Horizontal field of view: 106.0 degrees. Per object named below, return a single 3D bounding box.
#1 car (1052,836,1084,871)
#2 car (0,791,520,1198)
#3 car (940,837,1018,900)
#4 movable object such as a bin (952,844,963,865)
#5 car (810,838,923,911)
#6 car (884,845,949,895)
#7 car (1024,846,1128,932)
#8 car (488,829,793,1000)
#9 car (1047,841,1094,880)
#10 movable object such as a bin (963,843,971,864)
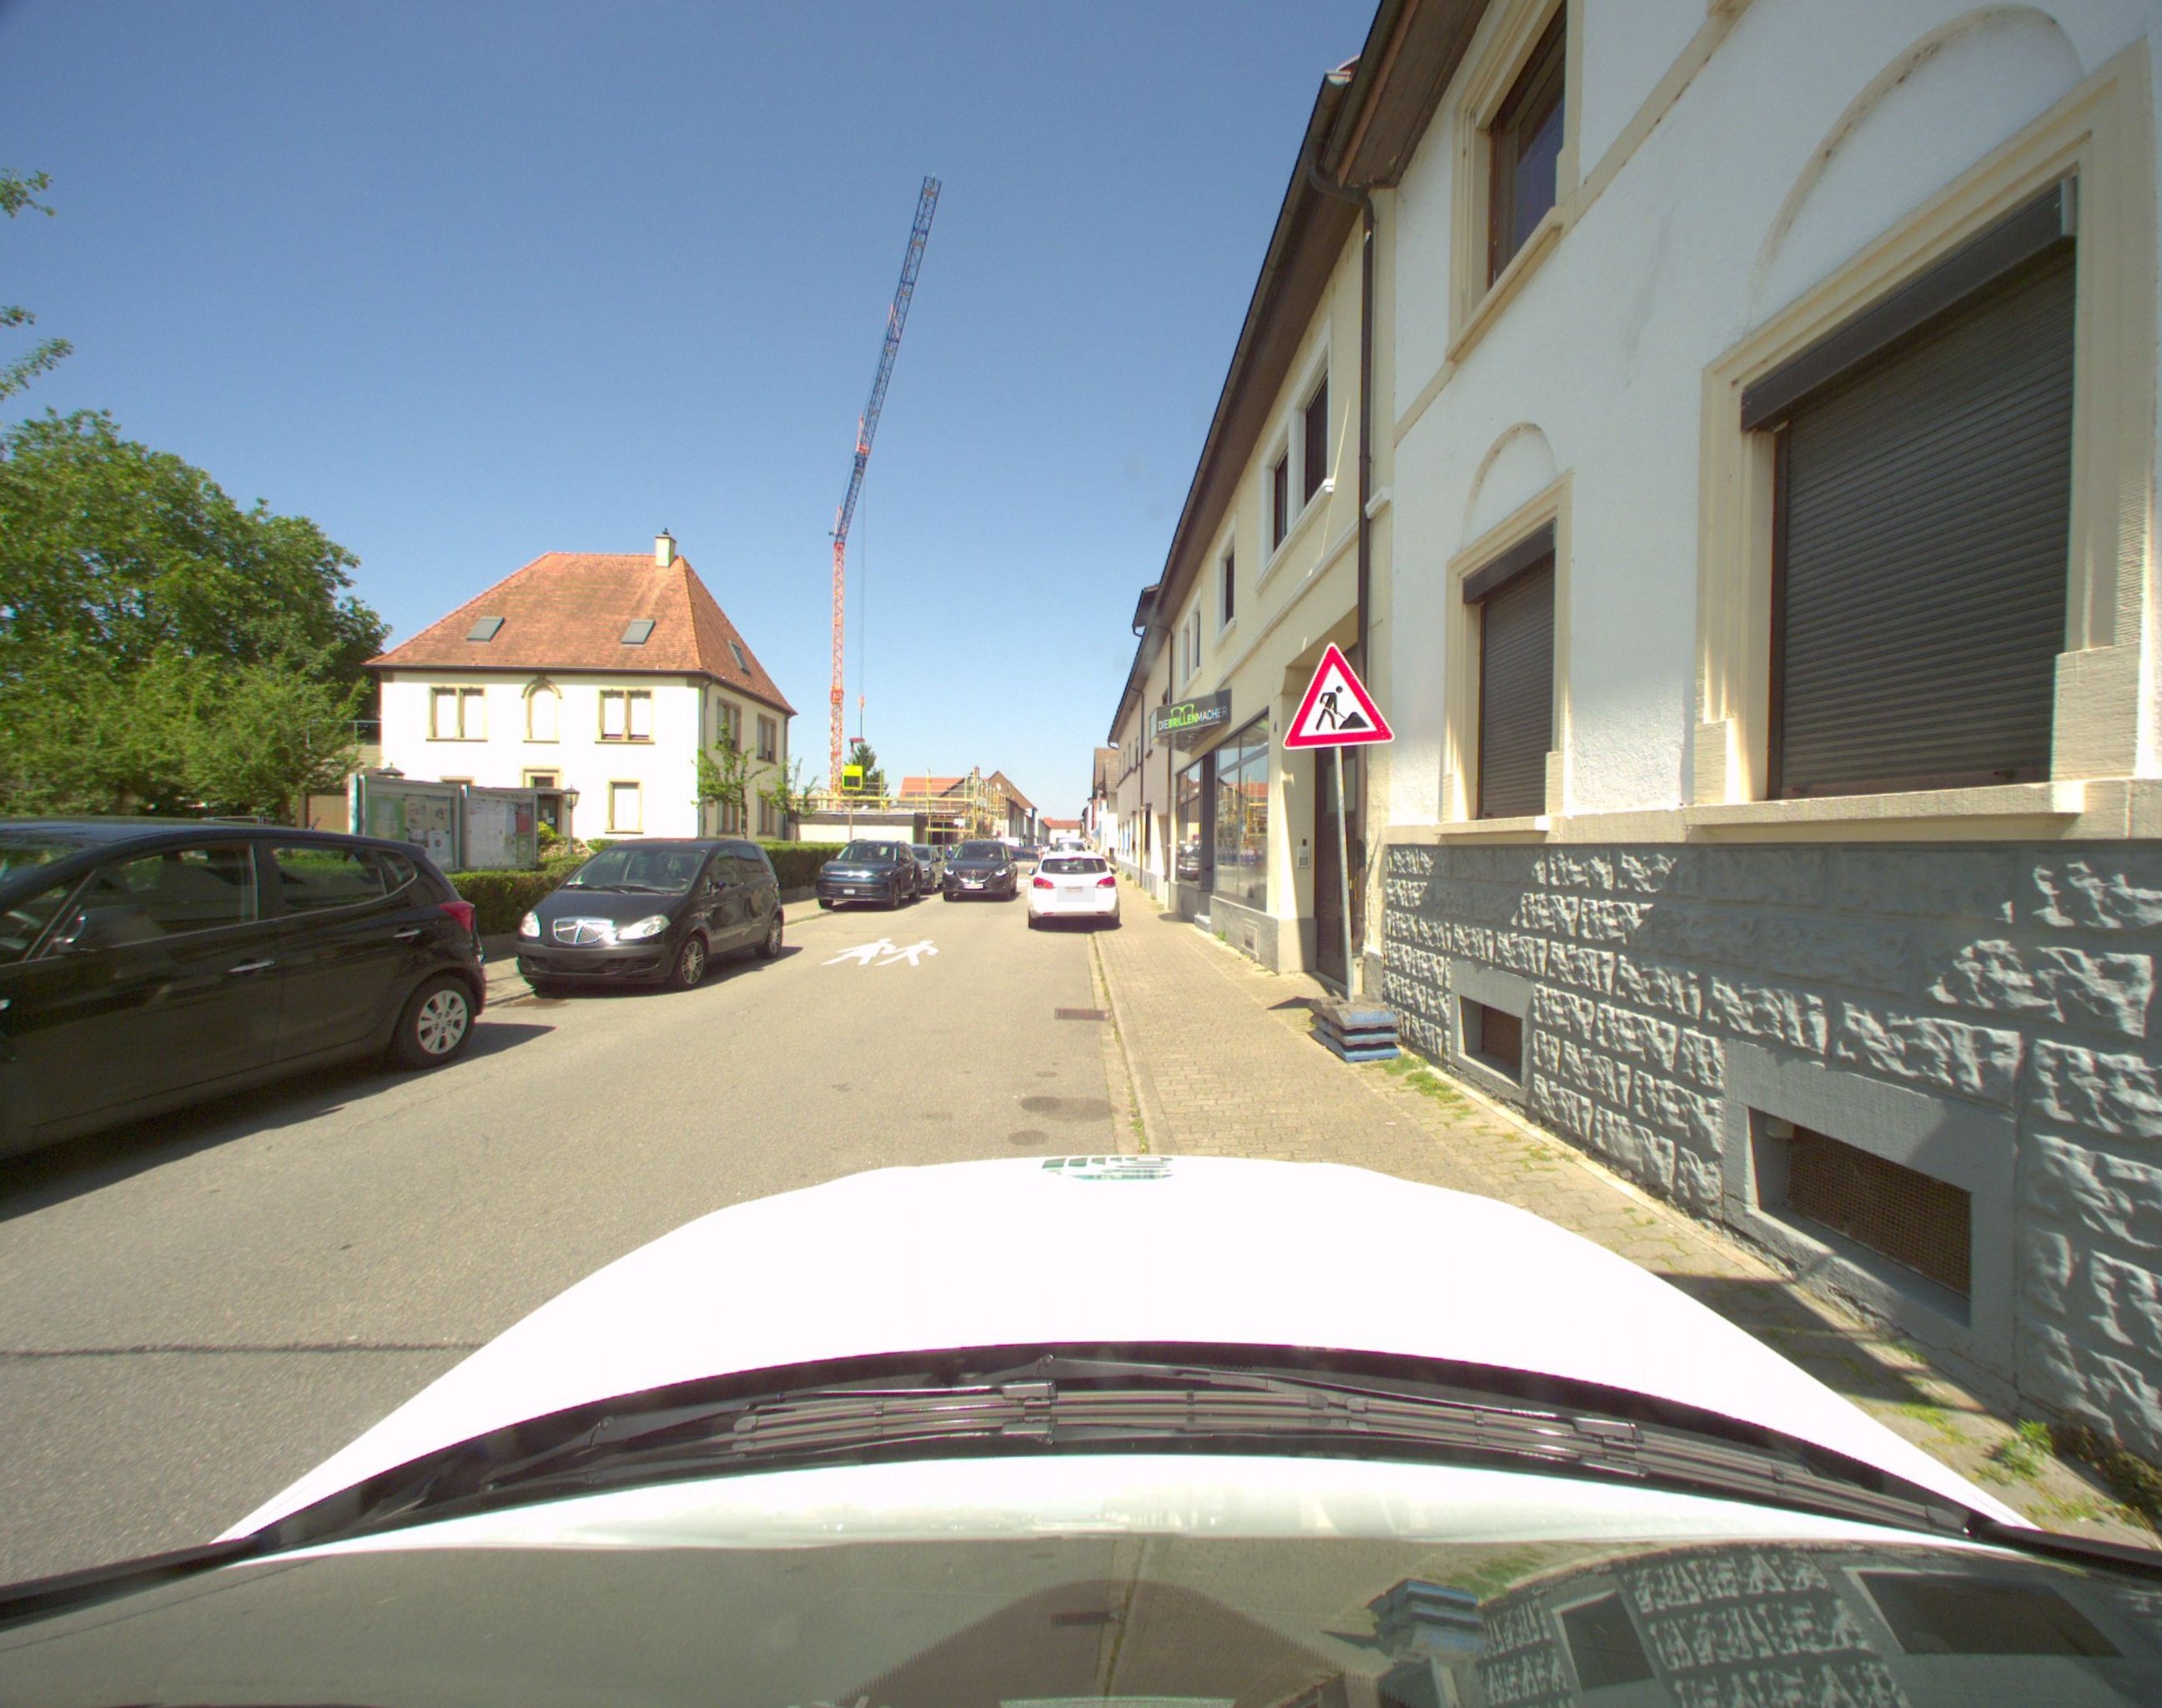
[{"bbox_3d":[-0.672,-0.066,41.980,1.559,1.612,3.542,1,3,-1],"label":"car"},{"bbox_3d":[-5.144,0.533,4.087,1.809,1.604,4.025,1,1,1],"label":"car"},{"bbox_3d":[-2.879,0.362,23.714,1.877,1.668,4.150,1,1,-2],"label":"car"},{"bbox_3d":[-6.845,0.008,45.162,0.621,1.155,0.675,1,1,-8],"label":"movable object such as a bin"},{"bbox_3d":[-5.268,0.438,20.537,1.821,1.630,4.214,1,1,-2],"label":"car"},{"bbox_3d":[-5.163,0.460,25.968,1.432,1.474,3.783,0,0,-2],"label":"car"},{"bbox_3d":[-0.194,0.624,16.964,1.882,1.542,4.238,1,1,-3],"label":"car"},{"bbox_3d":[-4.891,0.552,9.703,1.633,1.628,3.766,1,1,-1],"label":"car"},{"bbox_3d":[-0.522,0.232,36.806,1.880,1.556,3.890,-3,1,-4],"label":"car"},{"bbox_3d":[-6.393,-0.031,45.654,0.431,1.155,0.363,1,1,-11],"label":"movable object such as a bin"}]
